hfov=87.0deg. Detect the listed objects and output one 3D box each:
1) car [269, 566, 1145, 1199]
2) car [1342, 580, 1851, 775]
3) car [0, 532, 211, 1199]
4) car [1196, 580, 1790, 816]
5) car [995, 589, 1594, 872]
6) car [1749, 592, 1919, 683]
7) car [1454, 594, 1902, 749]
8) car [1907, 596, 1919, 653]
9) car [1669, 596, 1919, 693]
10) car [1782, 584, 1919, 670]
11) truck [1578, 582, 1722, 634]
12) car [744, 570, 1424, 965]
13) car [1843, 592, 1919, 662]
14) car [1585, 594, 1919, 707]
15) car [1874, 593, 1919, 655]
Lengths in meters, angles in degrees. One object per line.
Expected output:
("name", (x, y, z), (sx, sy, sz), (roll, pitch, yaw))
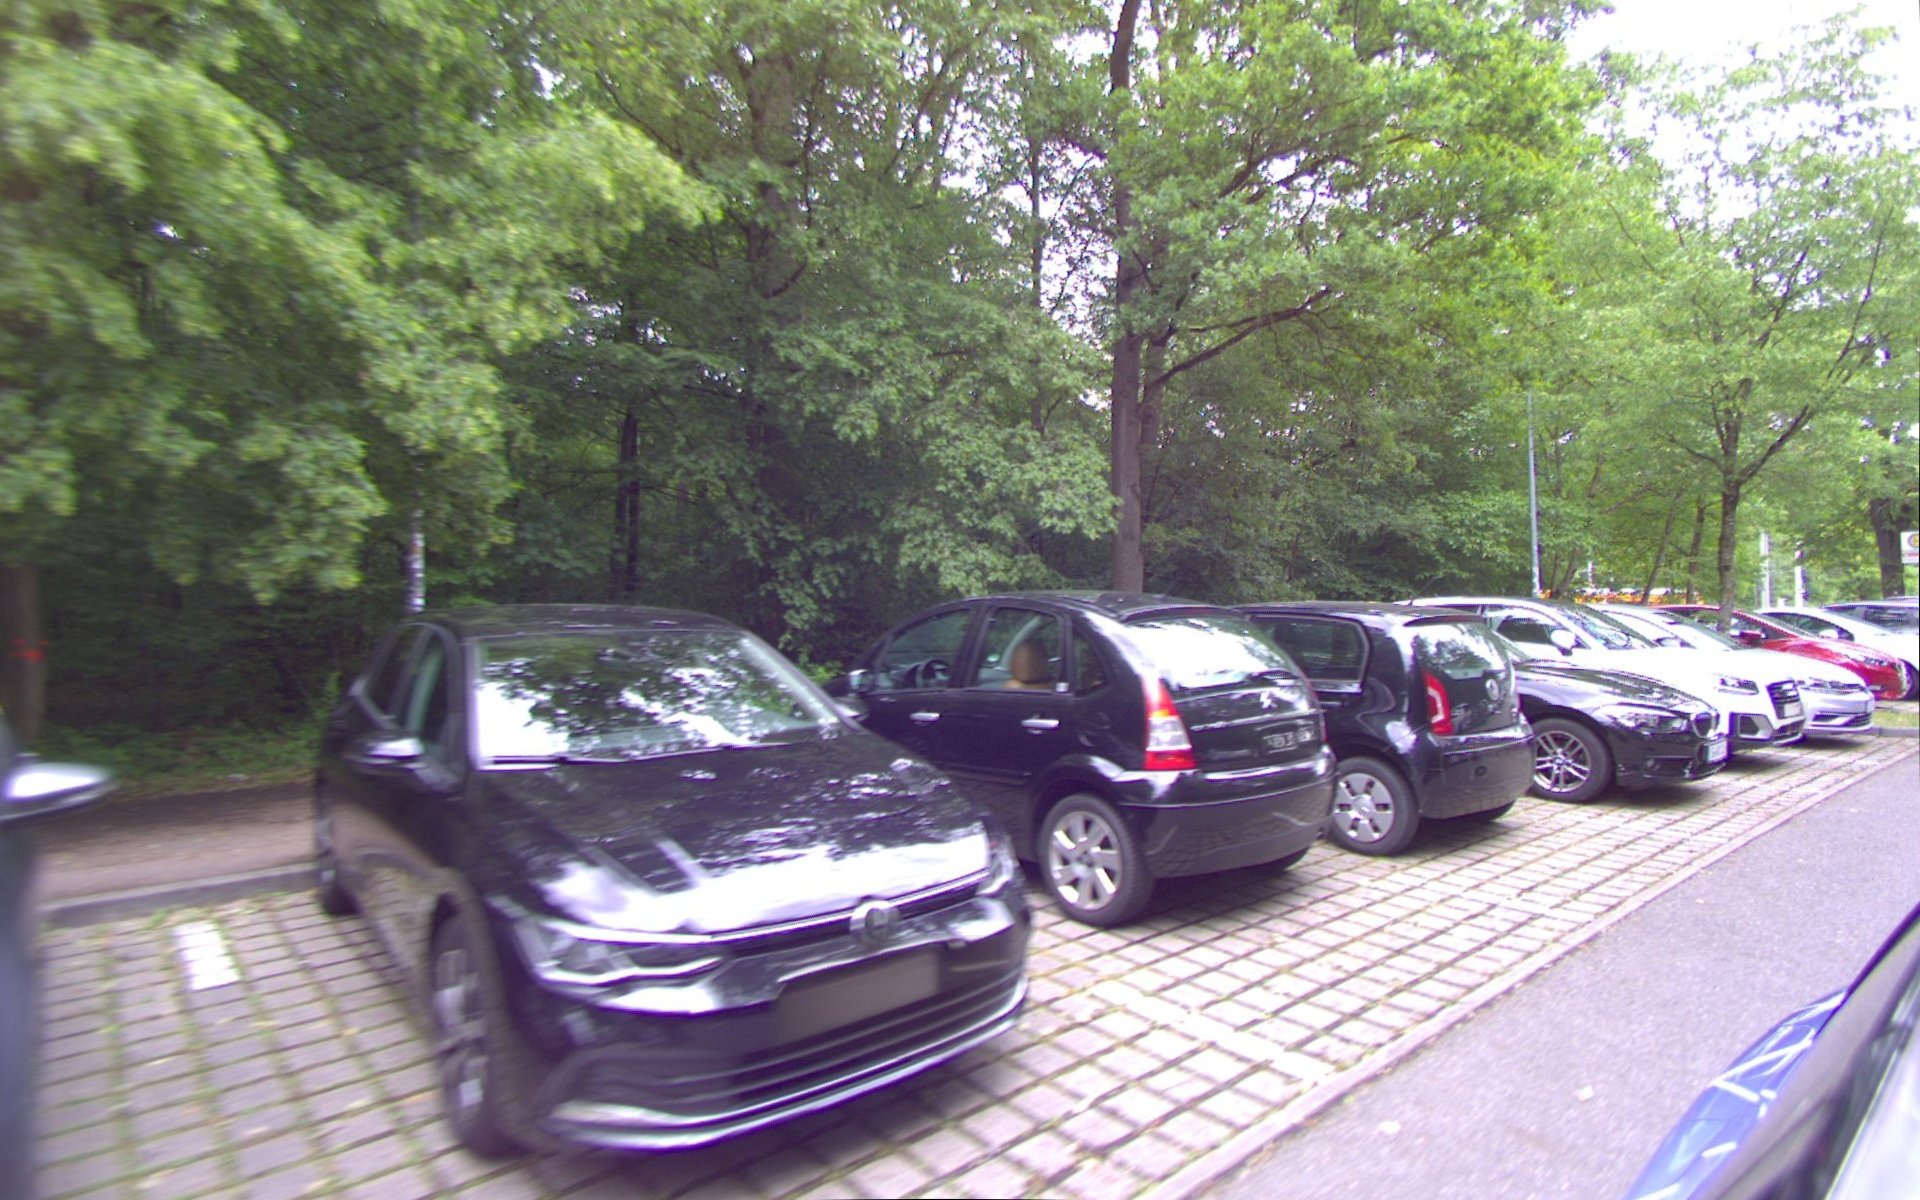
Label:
("car", (-1.421, 0.684, 4.090), (1.918, 1.494, 3.995), (0, 0, -40))
("car", (6.281, 0.639, 10.409), (1.940, 1.579, 4.020), (1, -1, -36))
("car", (-3.234, 0.697, 2.212), (3.987, 1.571, 1.944), (0, 0, 44))
("car", (4.335, 0.649, 8.789), (1.860, 1.531, 4.194), (1, -1, -40))
("car", (2.168, 0.666, 7.400), (1.776, 1.475, 3.836), (0, 1, -39))
("car", (16.244, 0.633, 17.519), (1.741, 1.500, 3.777), (1, -1, -38))
("car", (8.257, 0.705, 11.927), (1.850, 1.503, 3.983), (1, -1, -40))
("car", (26.336, 0.636, 24.986), (1.903, 1.468, 4.002), (0, 0, -33))
("car", (14.143, 0.669, 16.433), (1.843, 1.429, 3.944), (1, -1, -36))
("car", (18.563, 0.513, 19.544), (1.912, 1.610, 3.781), (1, -1, -34))
("truck", (49.967, 0.559, 73.566), (2.811, 3.559, 8.255), (1, -1, -30))
("car", (0.443, 0.624, 6.035), (1.818, 1.550, 3.835), (0, 1, -40))
("car", (22.159, 0.594, 22.319), (1.717, 1.530, 3.716), (0, 0, -32))
("car", (11.710, 0.666, 15.049), (1.840, 1.459, 3.796), (1, -1, -44))
("car", (24.200, 0.573, 23.458), (1.828, 1.480, 4.143), (0, 1, -31))
